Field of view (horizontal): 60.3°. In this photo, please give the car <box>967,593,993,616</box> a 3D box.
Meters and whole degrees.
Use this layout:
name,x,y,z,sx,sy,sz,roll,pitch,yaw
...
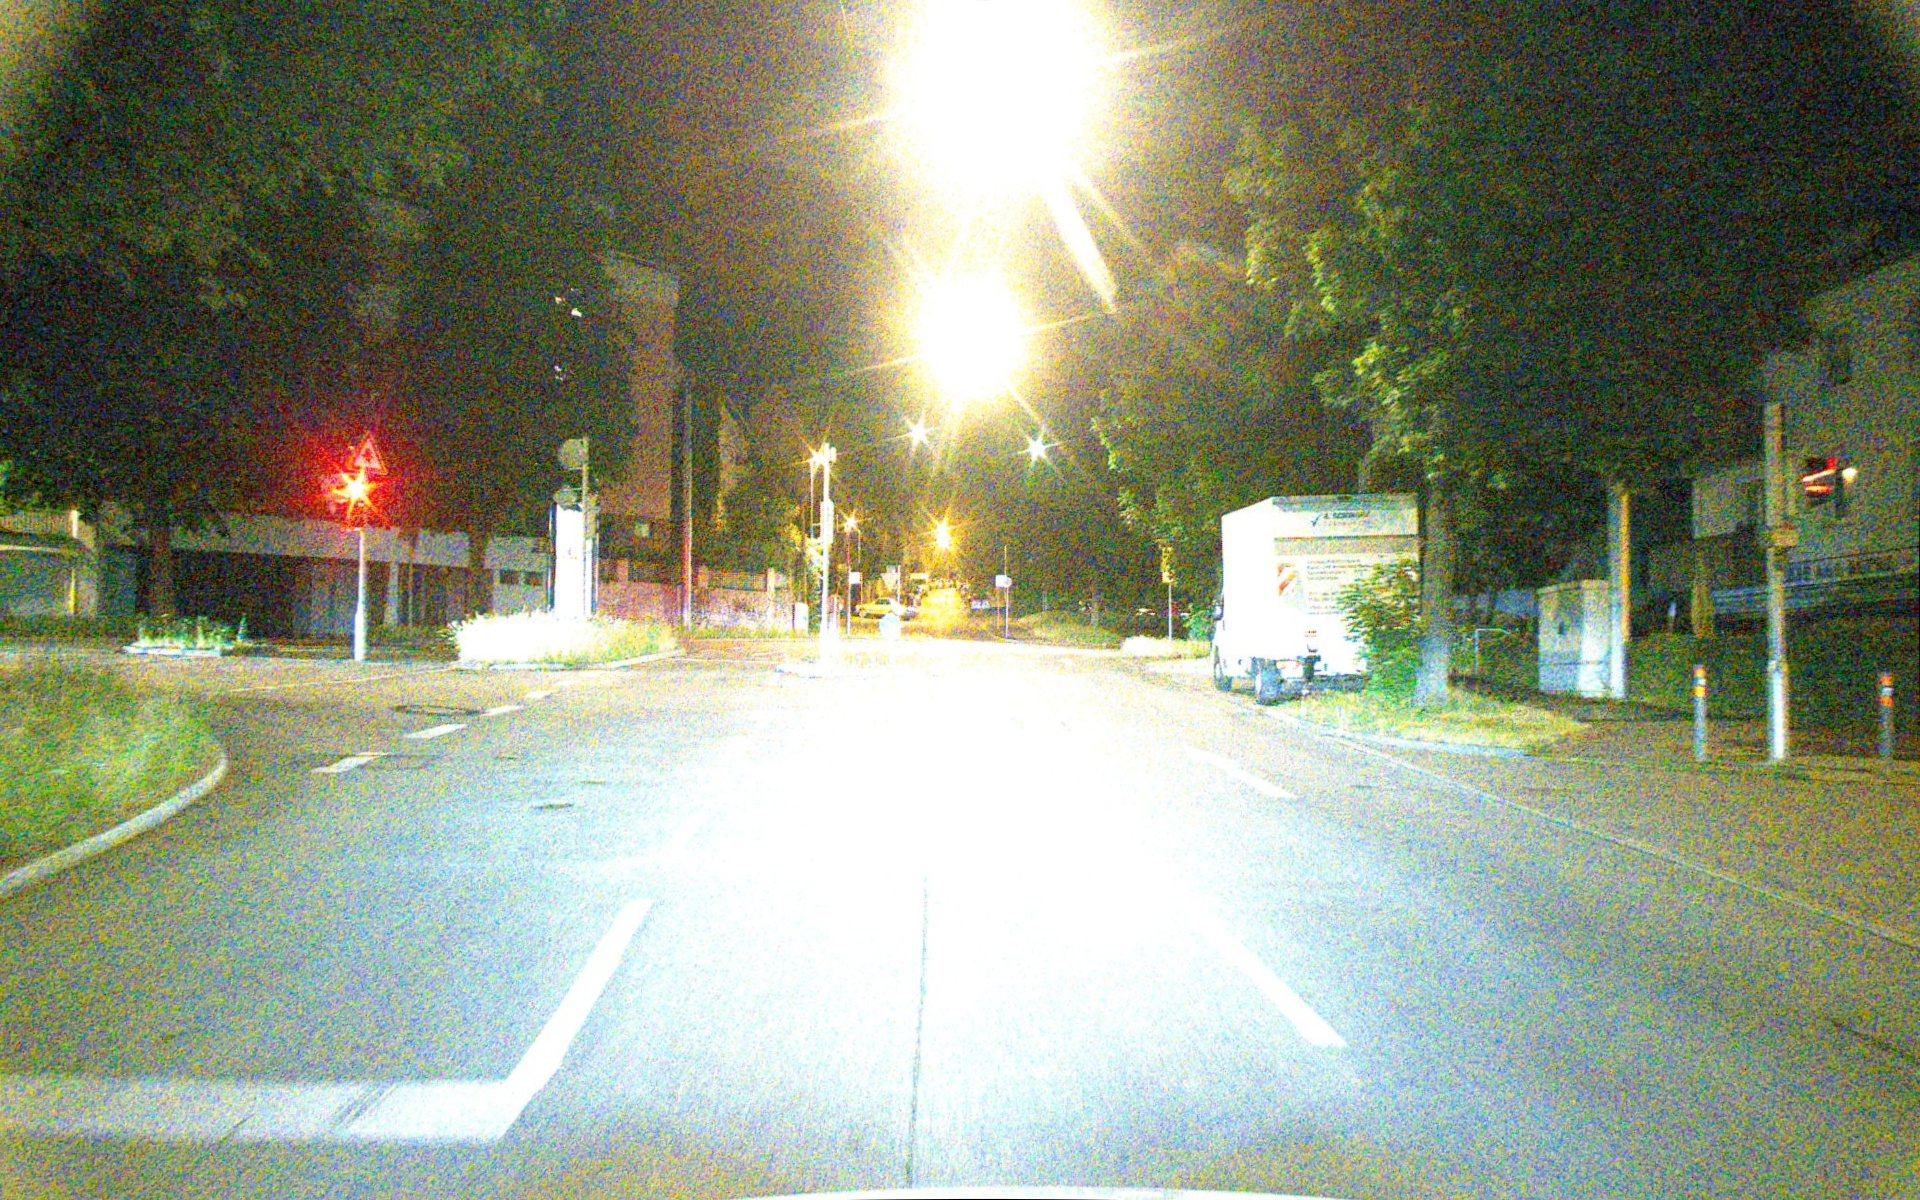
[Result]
name,x,y,z,sx,sy,sz,roll,pitch,yaw
car,1.620,0.396,135.553,1.953,1.800,3.999,2,0,-1

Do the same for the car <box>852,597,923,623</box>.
name,x,y,z,sx,sy,sz,roll,pitch,yaw
car,-4.821,0.647,110.162,4.419,1.584,1.994,2,0,34

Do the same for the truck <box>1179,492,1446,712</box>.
name,x,y,z,sx,sy,sz,roll,pitch,yaw
truck,5.507,0.053,27.153,2.708,3.098,7.034,-1,0,-1
